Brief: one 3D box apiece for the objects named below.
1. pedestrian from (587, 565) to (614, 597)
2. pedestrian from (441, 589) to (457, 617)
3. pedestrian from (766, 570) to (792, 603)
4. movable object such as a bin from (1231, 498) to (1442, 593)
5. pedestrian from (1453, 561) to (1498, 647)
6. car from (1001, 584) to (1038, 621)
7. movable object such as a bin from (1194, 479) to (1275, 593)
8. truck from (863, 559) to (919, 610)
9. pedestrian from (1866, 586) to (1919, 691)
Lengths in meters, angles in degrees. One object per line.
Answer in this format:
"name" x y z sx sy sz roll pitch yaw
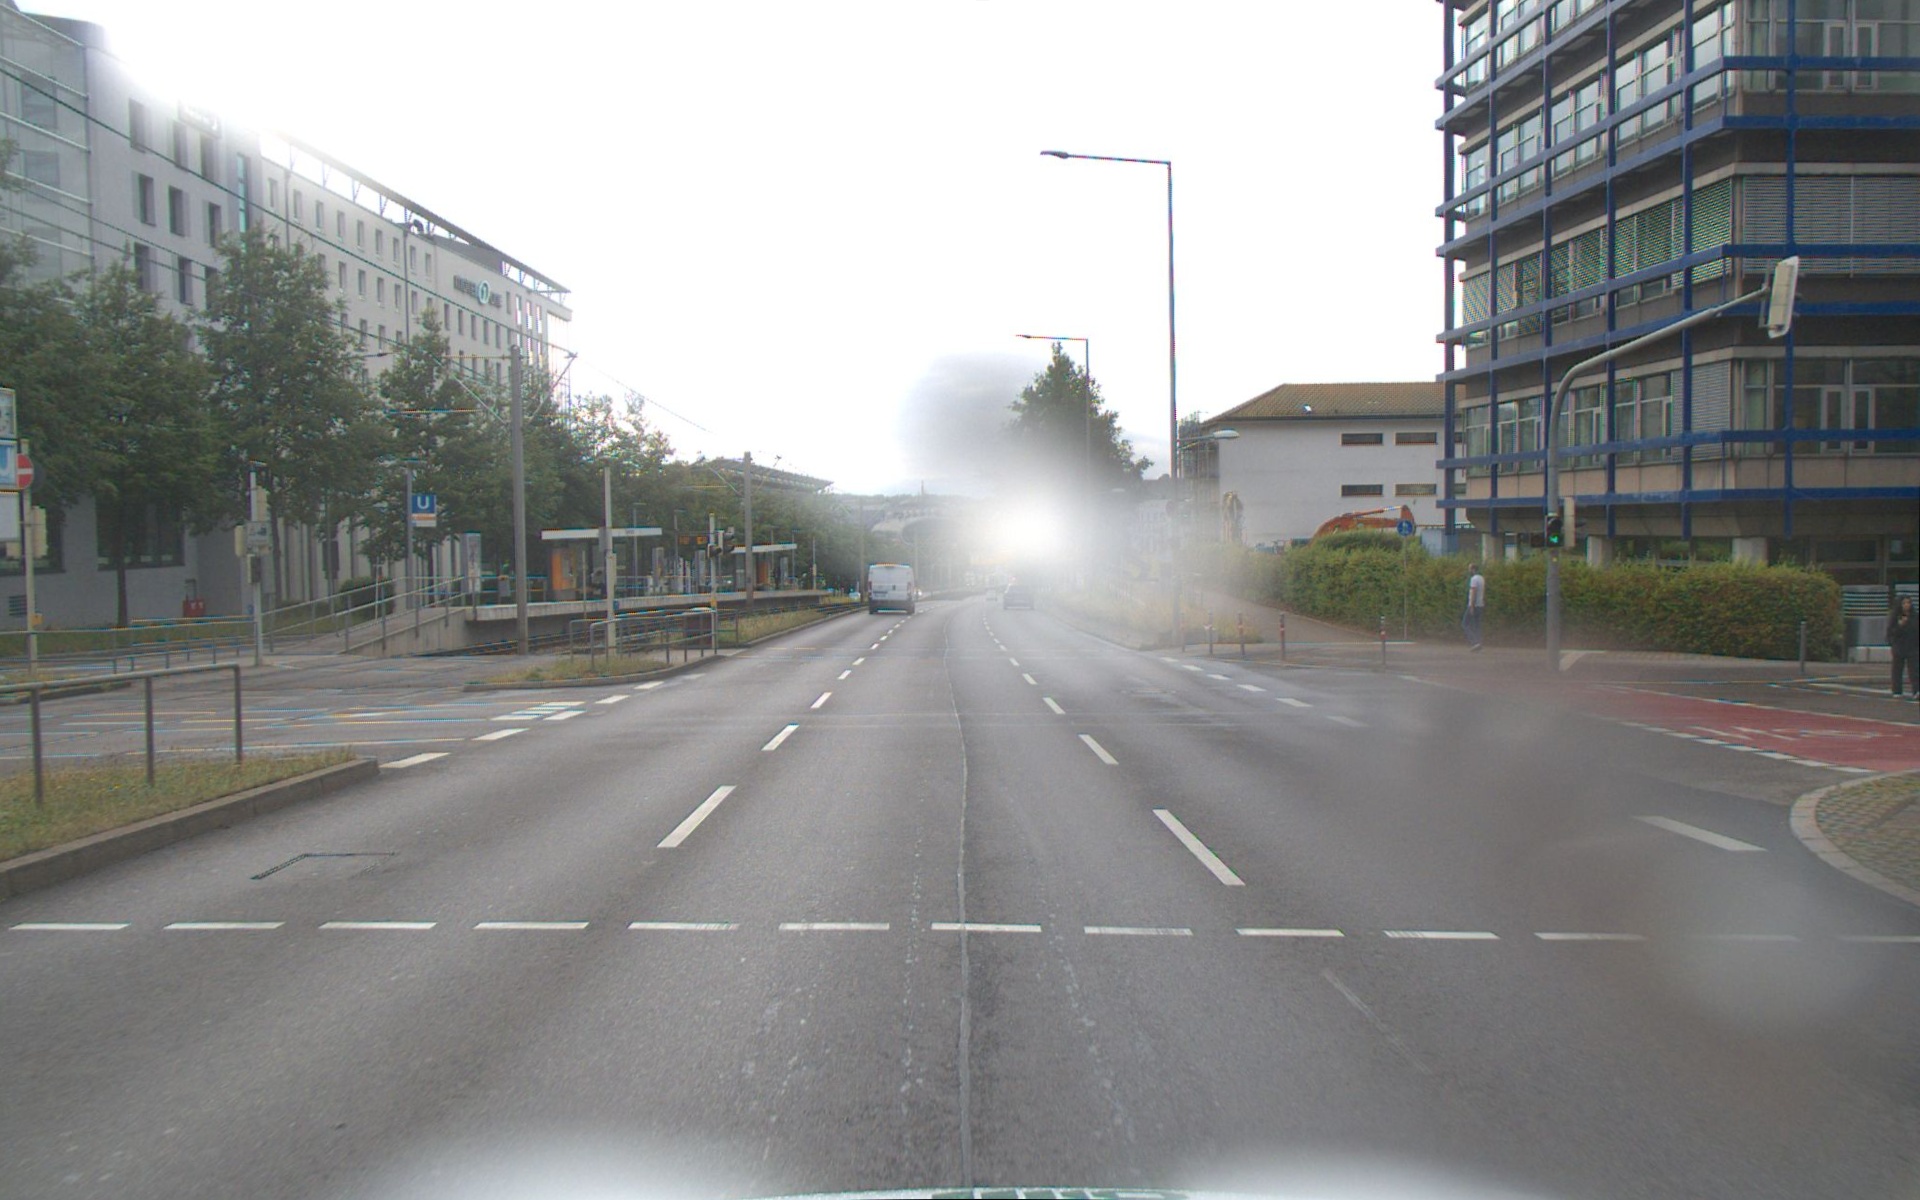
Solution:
"pedestrian" -14.976 -0.803 68.853 0.941 1.322 0.684 -1 1 0
"pedestrian" -29.402 0.159 95.135 0.587 1.605 0.835 1 0 2
"pedestrian" -11.494 -0.850 105.058 1.239 2.049 1.130 1 0 17
"movable object such as a bin" 22.729 -3.264 100.422 11.892 5.353 3.789 -1 0 0
"pedestrian" 10.317 0.079 33.114 0.544 1.681 0.830 -1 0 -10
"car" 3.360 0.136 92.825 1.952 2.049 3.936 1 0 3
"movable object such as a bin" 14.757 -3.314 89.527 3.221 5.784 8.766 1 0 2
"truck" -3.215 -0.709 78.294 2.311 2.301 5.306 1 0 1
"pedestrian" 14.486 0.580 25.407 0.887 1.568 0.796 0 0 38
